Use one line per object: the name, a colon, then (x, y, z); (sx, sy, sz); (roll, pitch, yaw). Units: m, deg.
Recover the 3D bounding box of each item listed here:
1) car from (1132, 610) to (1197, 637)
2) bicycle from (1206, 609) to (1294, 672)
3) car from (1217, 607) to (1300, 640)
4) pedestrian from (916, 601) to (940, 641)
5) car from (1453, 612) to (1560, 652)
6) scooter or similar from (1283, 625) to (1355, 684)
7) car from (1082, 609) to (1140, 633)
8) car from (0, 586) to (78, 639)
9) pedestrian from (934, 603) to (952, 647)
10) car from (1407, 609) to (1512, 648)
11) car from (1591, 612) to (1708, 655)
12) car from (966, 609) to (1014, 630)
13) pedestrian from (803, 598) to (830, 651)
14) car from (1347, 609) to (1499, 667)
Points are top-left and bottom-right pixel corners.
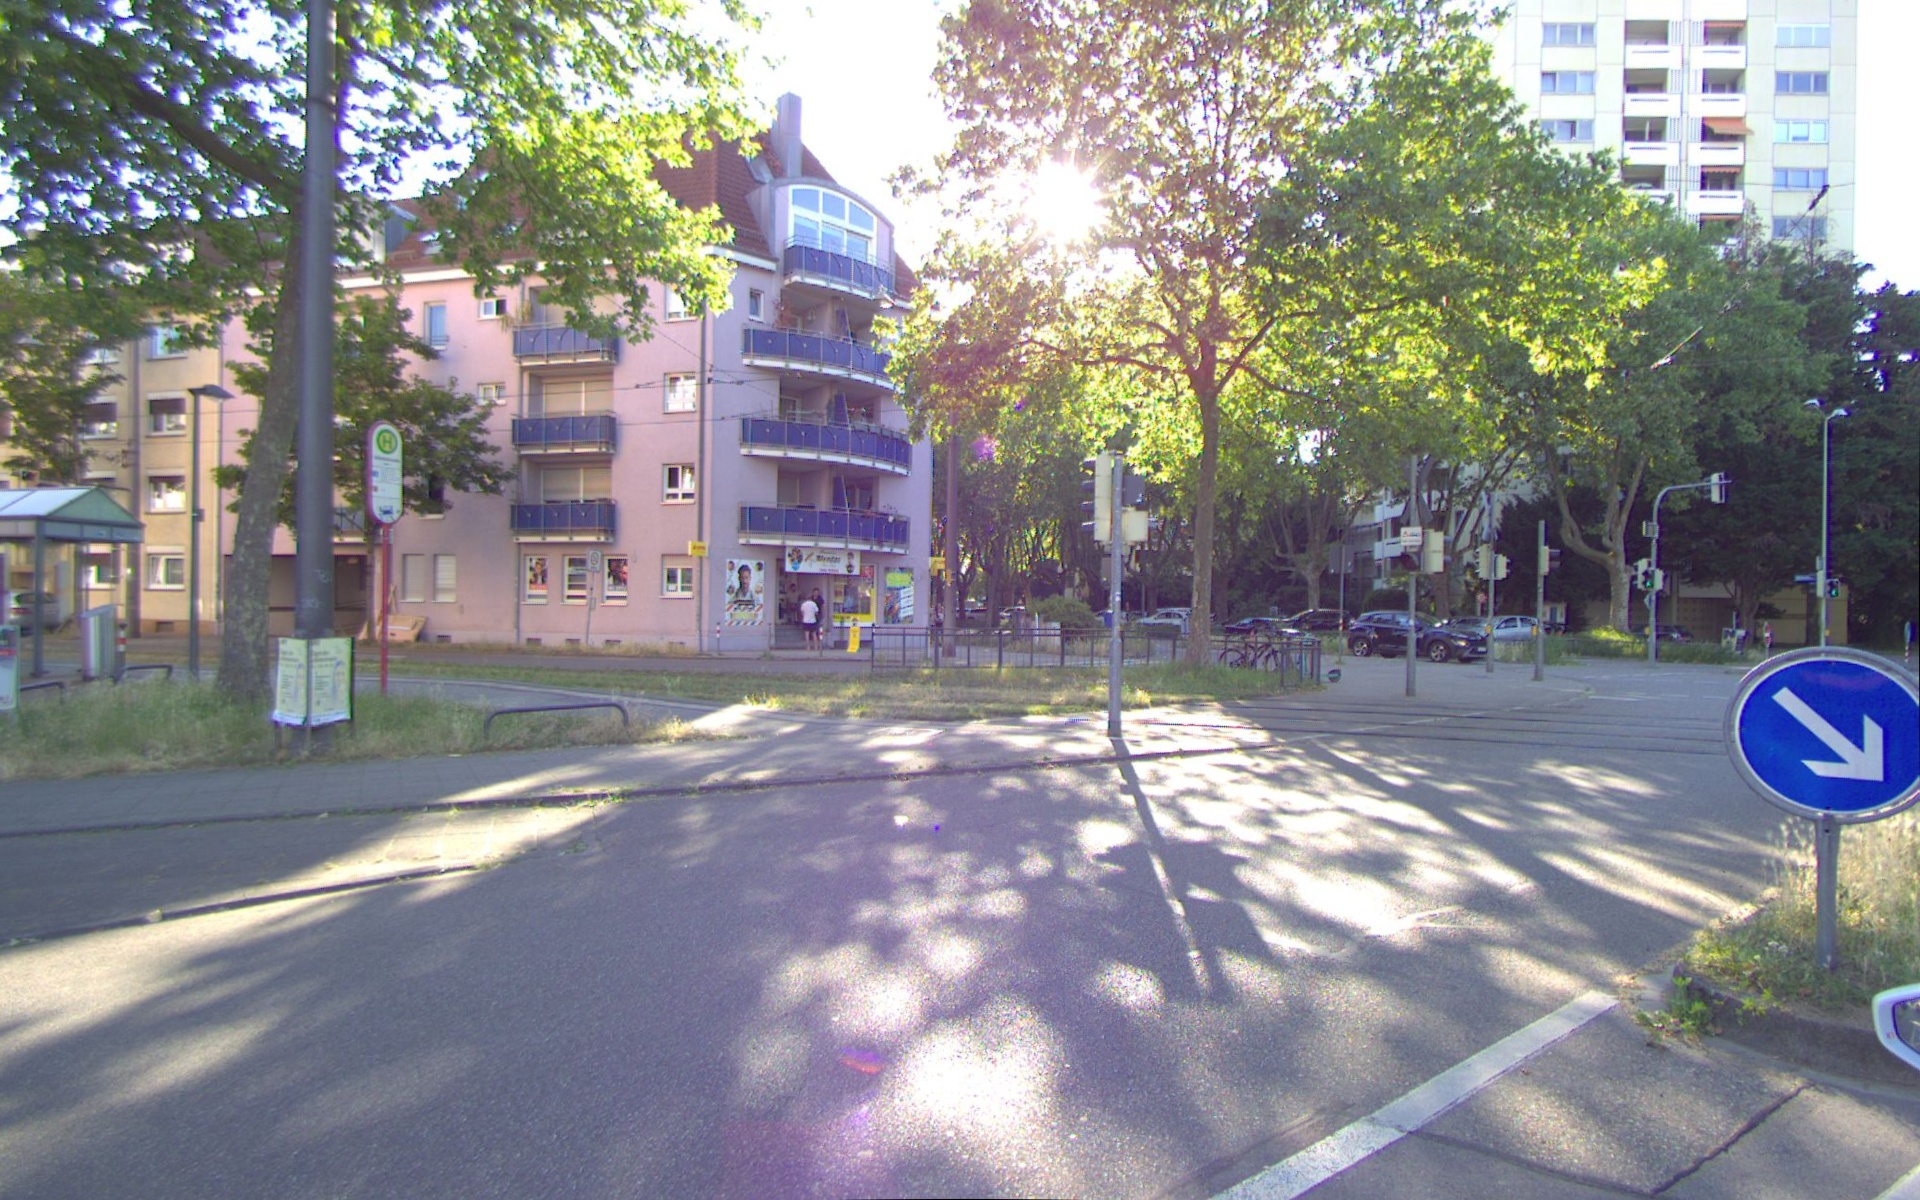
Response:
car: (13.409, 1.551, 65.984); (3.921, 1.617, 1.738); (2, 0, 0)
bicycle: (6.406, 0.878, 22.246); (1.811, 1.324, 0.382); (2, 0, 34)
car: (15.919, 1.240, 53.682); (3.921, 1.617, 1.738); (2, 0, 0)
pedestrian: (-1.396, 0.910, 43.634); (0.909, 1.689, 0.619); (2, 0, -10)
car: (23.888, 1.390, 43.983); (3.732, 1.617, 1.738); (2, 0, 0)
scooter or similar: (7.927, 1.195, 22.204); (1.412, 1.255, 0.414); (2, 0, 9)
car: (11.090, 1.523, 73.898); (3.921, 1.617, 1.738); (2, 0, 0)
car: (-33.472, 0.392, 35.219); (4.029, 1.728, 1.940); (2, 0, 16)
pedestrian: (-0.669, 0.966, 38.935); (0.540, 1.689, 0.620); (2, 0, 9)
car: (22.847, 1.298, 46.033); (3.921, 1.617, 1.738); (2, 0, 0)
car: (31.623, 1.518, 46.203); (1.971, 1.798, 3.979); (2, 0, -22)
car: (2.615, 1.668, 86.367); (3.919, 1.617, 1.739); (2, 0, 9)
pedestrian: (-4.674, 0.793, 32.673); (0.610, 1.689, 0.549); (2, 0, 38)
car: (14.373, 1.145, 31.375); (1.722, 1.617, 3.959); (2, 0, -36)
